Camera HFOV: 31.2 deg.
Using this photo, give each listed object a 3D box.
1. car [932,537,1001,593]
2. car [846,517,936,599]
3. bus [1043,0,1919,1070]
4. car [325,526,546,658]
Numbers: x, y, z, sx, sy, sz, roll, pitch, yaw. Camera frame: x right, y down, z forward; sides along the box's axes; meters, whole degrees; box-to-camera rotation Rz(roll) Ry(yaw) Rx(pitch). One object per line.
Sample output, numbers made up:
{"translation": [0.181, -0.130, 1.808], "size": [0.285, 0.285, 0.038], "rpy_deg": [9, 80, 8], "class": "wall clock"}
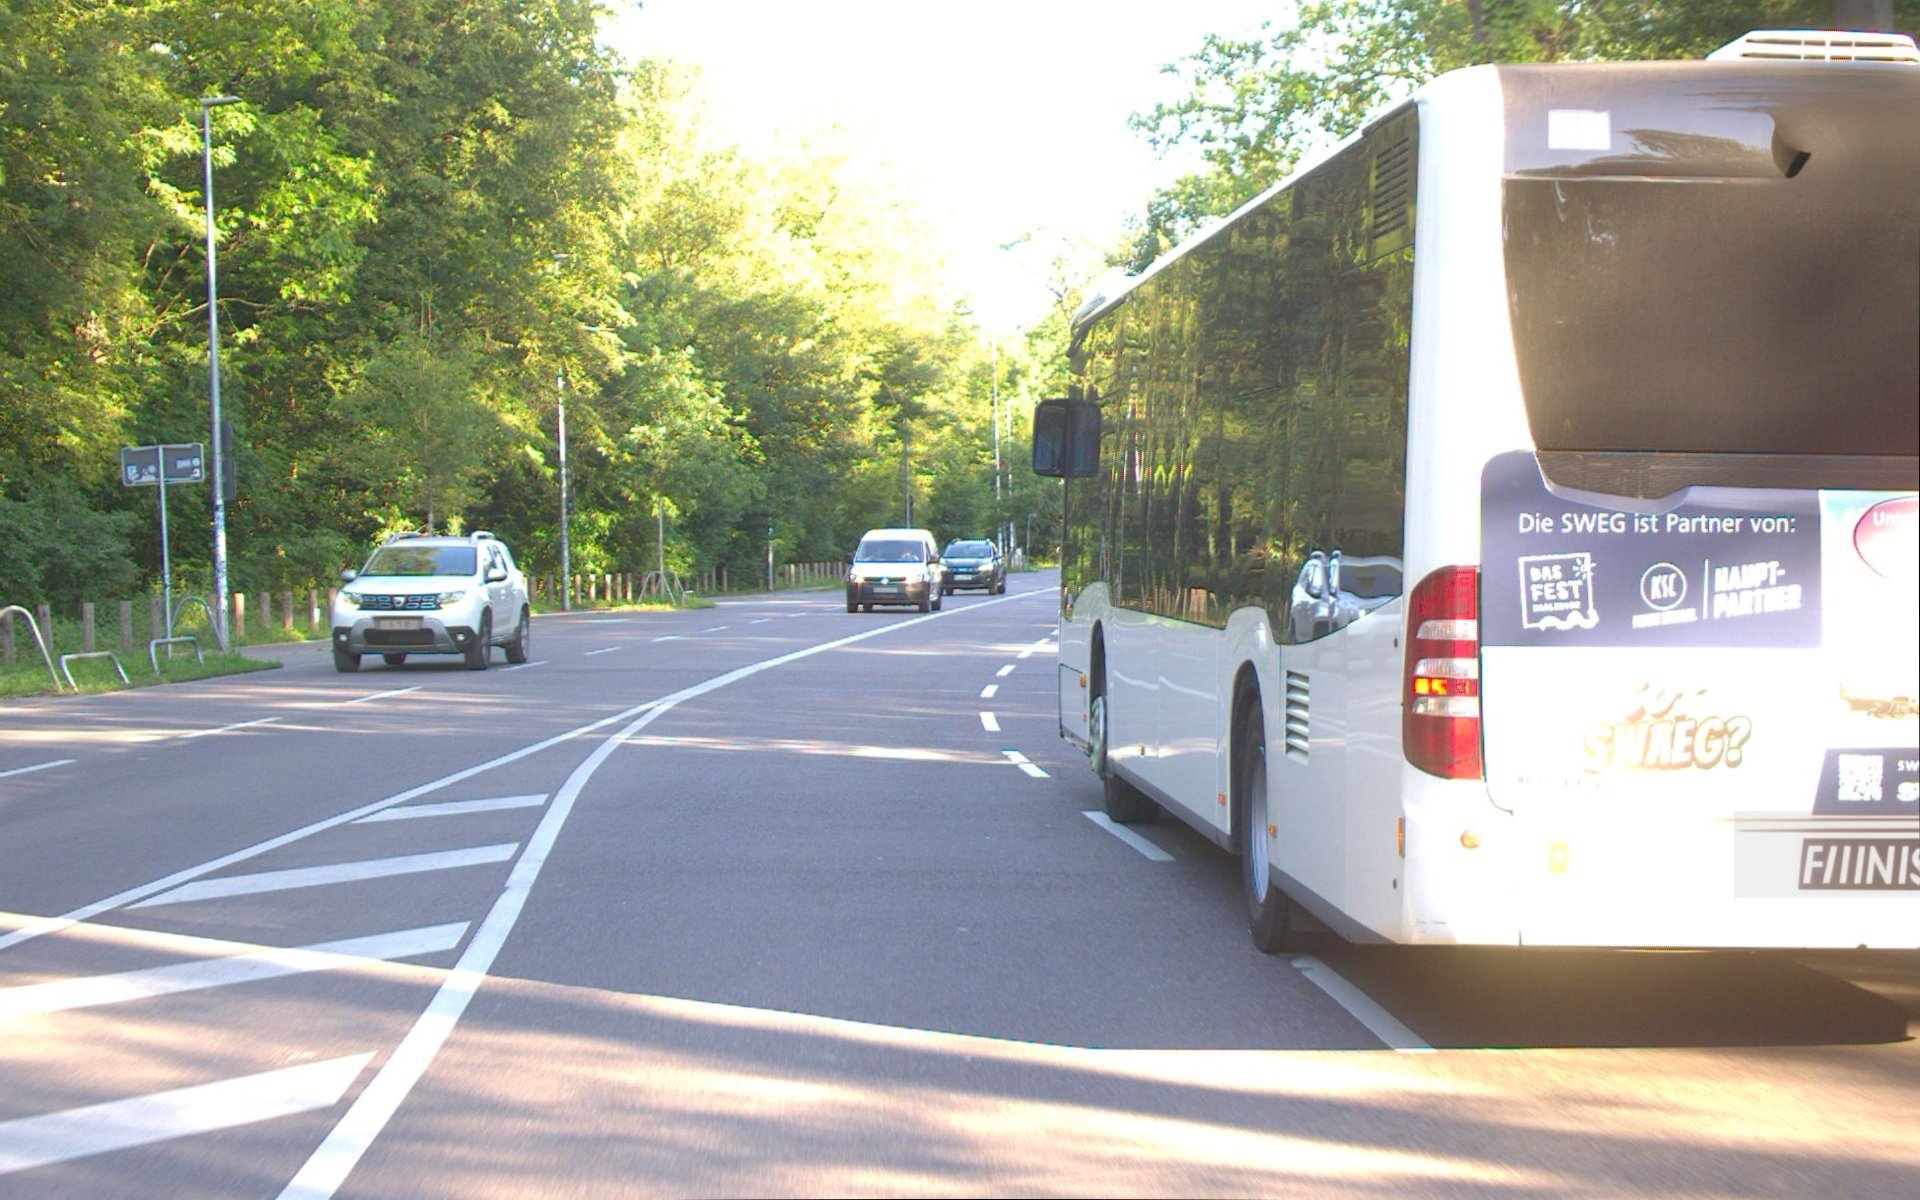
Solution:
{"translation": [0.210, -0.987, 97.850], "size": [1.863, 1.560, 4.000], "rpy_deg": [0, 0, 1], "class": "car"}
{"translation": [-1.472, -0.911, 74.678], "size": [1.863, 1.723, 4.000], "rpy_deg": [0, 0, 0], "class": "car"}
{"translation": [2.176, -0.300, 15.319], "size": [2.689, 3.032, 12.042], "rpy_deg": [0, 0, -3], "class": "bus"}
{"translation": [-6.363, -0.114, 42.161], "size": [1.863, 1.532, 4.131], "rpy_deg": [0, 0, 3], "class": "car"}
